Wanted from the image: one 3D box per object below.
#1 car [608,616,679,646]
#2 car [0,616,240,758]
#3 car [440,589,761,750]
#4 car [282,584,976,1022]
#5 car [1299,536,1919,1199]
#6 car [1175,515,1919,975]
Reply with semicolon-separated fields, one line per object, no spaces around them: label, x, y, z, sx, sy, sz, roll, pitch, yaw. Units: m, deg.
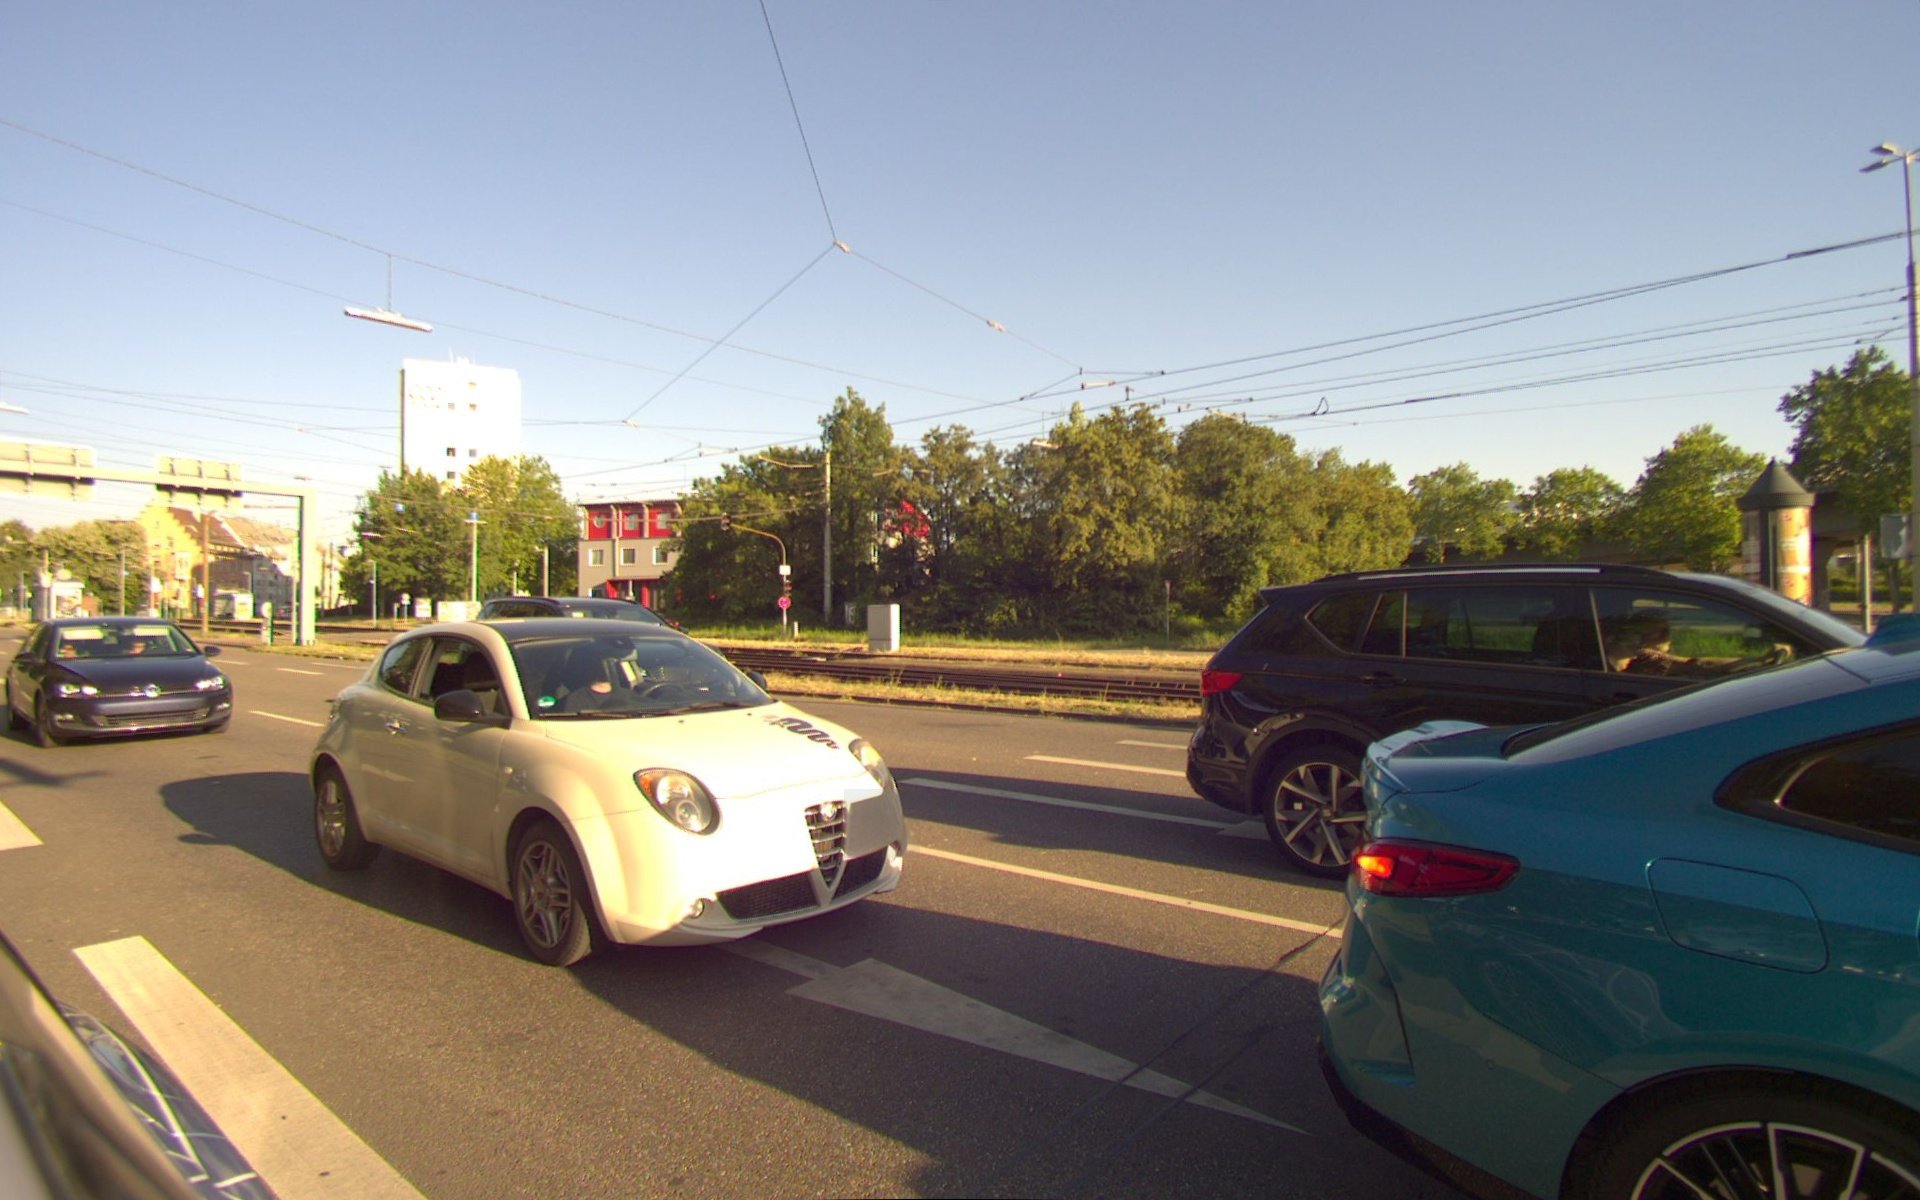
car;-18.326;1.770;58.516;4.755;1.691;1.729;-1;-1;42
car;-10.475;0.937;12.434;3.997;1.448;1.719;-1;-1;40
car;-4.592;0.783;12.649;4.273;1.675;1.881;-1;-2;40
car;-2.000;0.755;5.474;3.997;1.517;1.719;-1;-2;40
car;2.874;0.634;1.464;4.201;1.477;1.697;-1;-2;38
car;3.549;0.563;4.956;4.624;1.692;1.794;-2;-2;43
